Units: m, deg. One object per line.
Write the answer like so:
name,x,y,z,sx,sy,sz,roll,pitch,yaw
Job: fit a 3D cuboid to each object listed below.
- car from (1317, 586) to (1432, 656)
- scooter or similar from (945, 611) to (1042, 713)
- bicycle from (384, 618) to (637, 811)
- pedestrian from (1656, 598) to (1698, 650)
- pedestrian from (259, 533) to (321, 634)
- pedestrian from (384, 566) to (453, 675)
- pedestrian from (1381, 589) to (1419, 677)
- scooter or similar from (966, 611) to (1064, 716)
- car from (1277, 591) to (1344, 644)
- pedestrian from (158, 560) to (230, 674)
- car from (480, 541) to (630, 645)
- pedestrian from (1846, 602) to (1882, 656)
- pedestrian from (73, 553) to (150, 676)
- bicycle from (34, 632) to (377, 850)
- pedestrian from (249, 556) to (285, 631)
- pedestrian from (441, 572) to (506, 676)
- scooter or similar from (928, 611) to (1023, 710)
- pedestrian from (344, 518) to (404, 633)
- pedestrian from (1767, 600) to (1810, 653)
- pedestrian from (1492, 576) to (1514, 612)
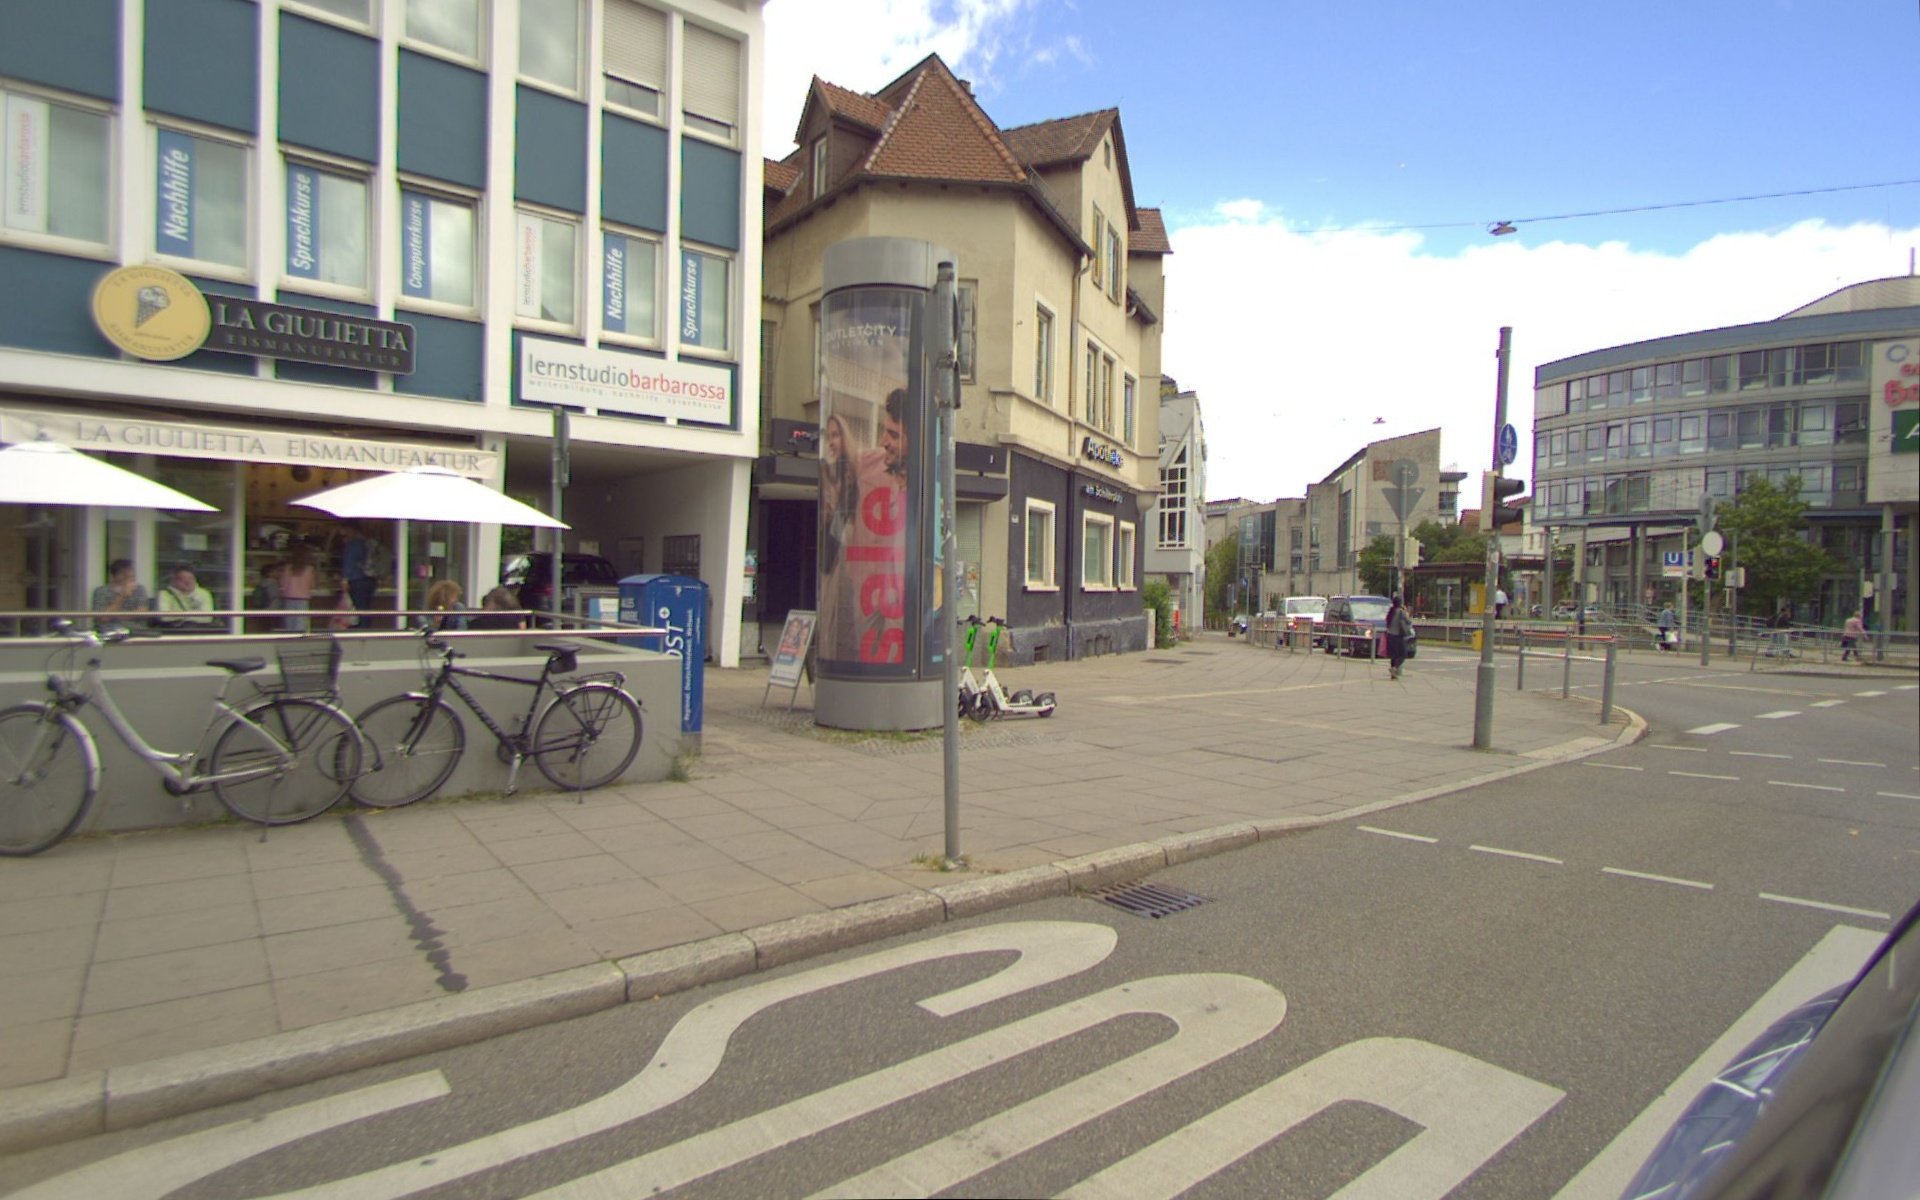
car,12.439,0.552,30.724,1.847,1.919,4.920,1,1,5
scooter or similar,0.407,0.714,11.942,1.186,1.147,0.315,1,1,-38
bicycle,-2.697,0.650,6.158,1.361,1.066,0.274,1,1,-38
pedestrian,23.817,0.797,33.610,0.794,1.668,0.885,1,0,10
pedestrian,-8.486,-0.191,12.822,0.577,1.236,0.614,1,-3,-39
pedestrian,-6.461,0.233,12.064,0.577,1.235,0.614,1,1,-41
pedestrian,8.455,0.635,19.466,0.580,1.643,0.739,-1,-2,20
scooter or similar,0.644,0.712,11.686,1.186,1.147,0.315,1,1,-38
car,13.660,0.627,39.714,1.851,1.919,4.909,1,1,12
pedestrian,-8.559,0.181,11.303,0.577,1.235,0.614,1,0,-41
car,-7.534,-0.135,18.619,1.702,1.687,3.979,1,0,-35
pedestrian,27.857,0.895,31.183,0.578,1.656,0.525,0,-2,6
pedestrian,-8.891,0.159,10.607,0.577,1.236,0.614,2,-3,-41
bicycle,-3.806,0.666,5.196,1.361,0.986,0.274,1,1,-38
pedestrian,-8.948,-0.073,13.062,0.347,0.955,0.301,1,-3,-39
pedestrian,-5.981,0.296,12.440,0.577,1.236,0.614,2,-3,-41
scooter or similar,0.199,0.717,12.278,1.186,1.147,0.315,1,1,-38
pedestrian,-7.814,-0.307,13.494,0.577,1.480,0.614,1,-3,-39
pedestrian,26.590,0.849,32.498,0.834,1.656,0.641,-1,-2,18
pedestrian,26.886,-0.272,50.108,0.682,1.766,0.615,0,-2,-2
